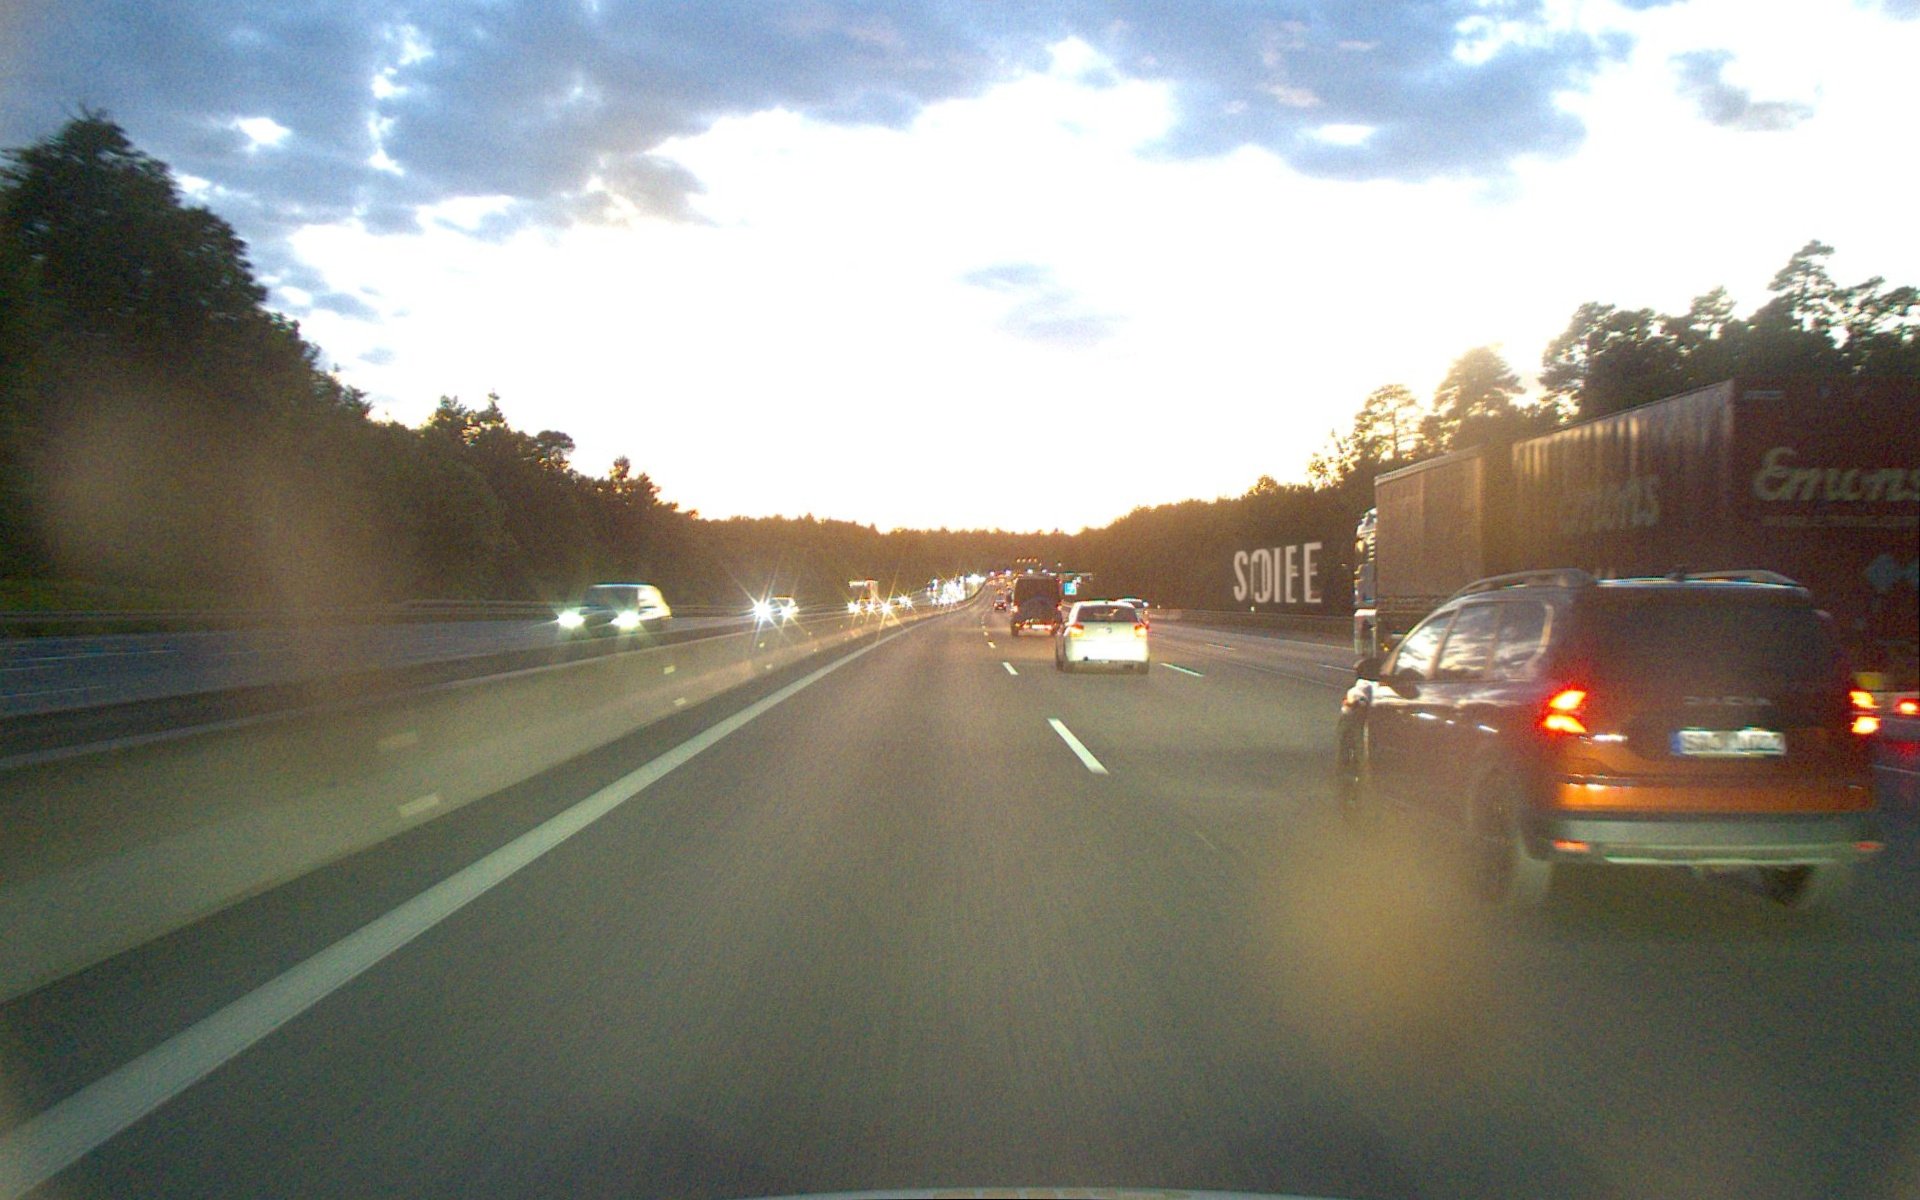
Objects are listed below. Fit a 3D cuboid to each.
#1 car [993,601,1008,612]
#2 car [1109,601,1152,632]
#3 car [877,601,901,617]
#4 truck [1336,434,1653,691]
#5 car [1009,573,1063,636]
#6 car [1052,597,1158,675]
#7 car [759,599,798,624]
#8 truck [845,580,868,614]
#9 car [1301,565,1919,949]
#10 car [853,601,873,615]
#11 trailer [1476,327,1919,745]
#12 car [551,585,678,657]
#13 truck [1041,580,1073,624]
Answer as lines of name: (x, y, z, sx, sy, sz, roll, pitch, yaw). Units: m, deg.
car: (5.580, 0.894, 227.346, 1.798, 1.598, 4.002, 0, 0, 3)
car: (8.664, 0.839, 84.292, 1.966, 1.565, 4.002, 0, 0, 3)
car: (-6.581, 0.844, 153.782, 1.952, 1.426, 4.687, 1, 0, 0)
truck: (9.930, -0.598, 32.319, 2.825, 4.172, 10.832, 0, 0, 1)
car: (3.159, 0.181, 67.792, 2.120, 2.461, 5.566, 0, 0, 3)
car: (2.966, 0.710, 34.437, 1.821, 1.467, 3.720, 0, 1, -1)
car: (-10.885, 0.683, 99.336, 1.719, 1.454, 5.363, 1, 0, 0)
truck: (-13.168, -0.361, 210.855, 2.595, 4.204, 6.524, 0, 0, 0)
car: (3.511, 0.656, 9.765, 1.864, 1.672, 5.051, 0, 1, -1)
car: (-9.985, 0.858, 170.509, 1.740, 1.426, 4.939, 1, 0, 0)
trailer: (9.743, -0.623, 21.701, 2.847, 4.172, 10.358, 0, 0, 1)
car: (-8.661, 0.498, 41.917, 1.952, 1.667, 5.112, 1, 0, 2)
truck: (13.617, 0.307, 233.412, 4.063, 5.959, 14.299, 0, 0, 2)
